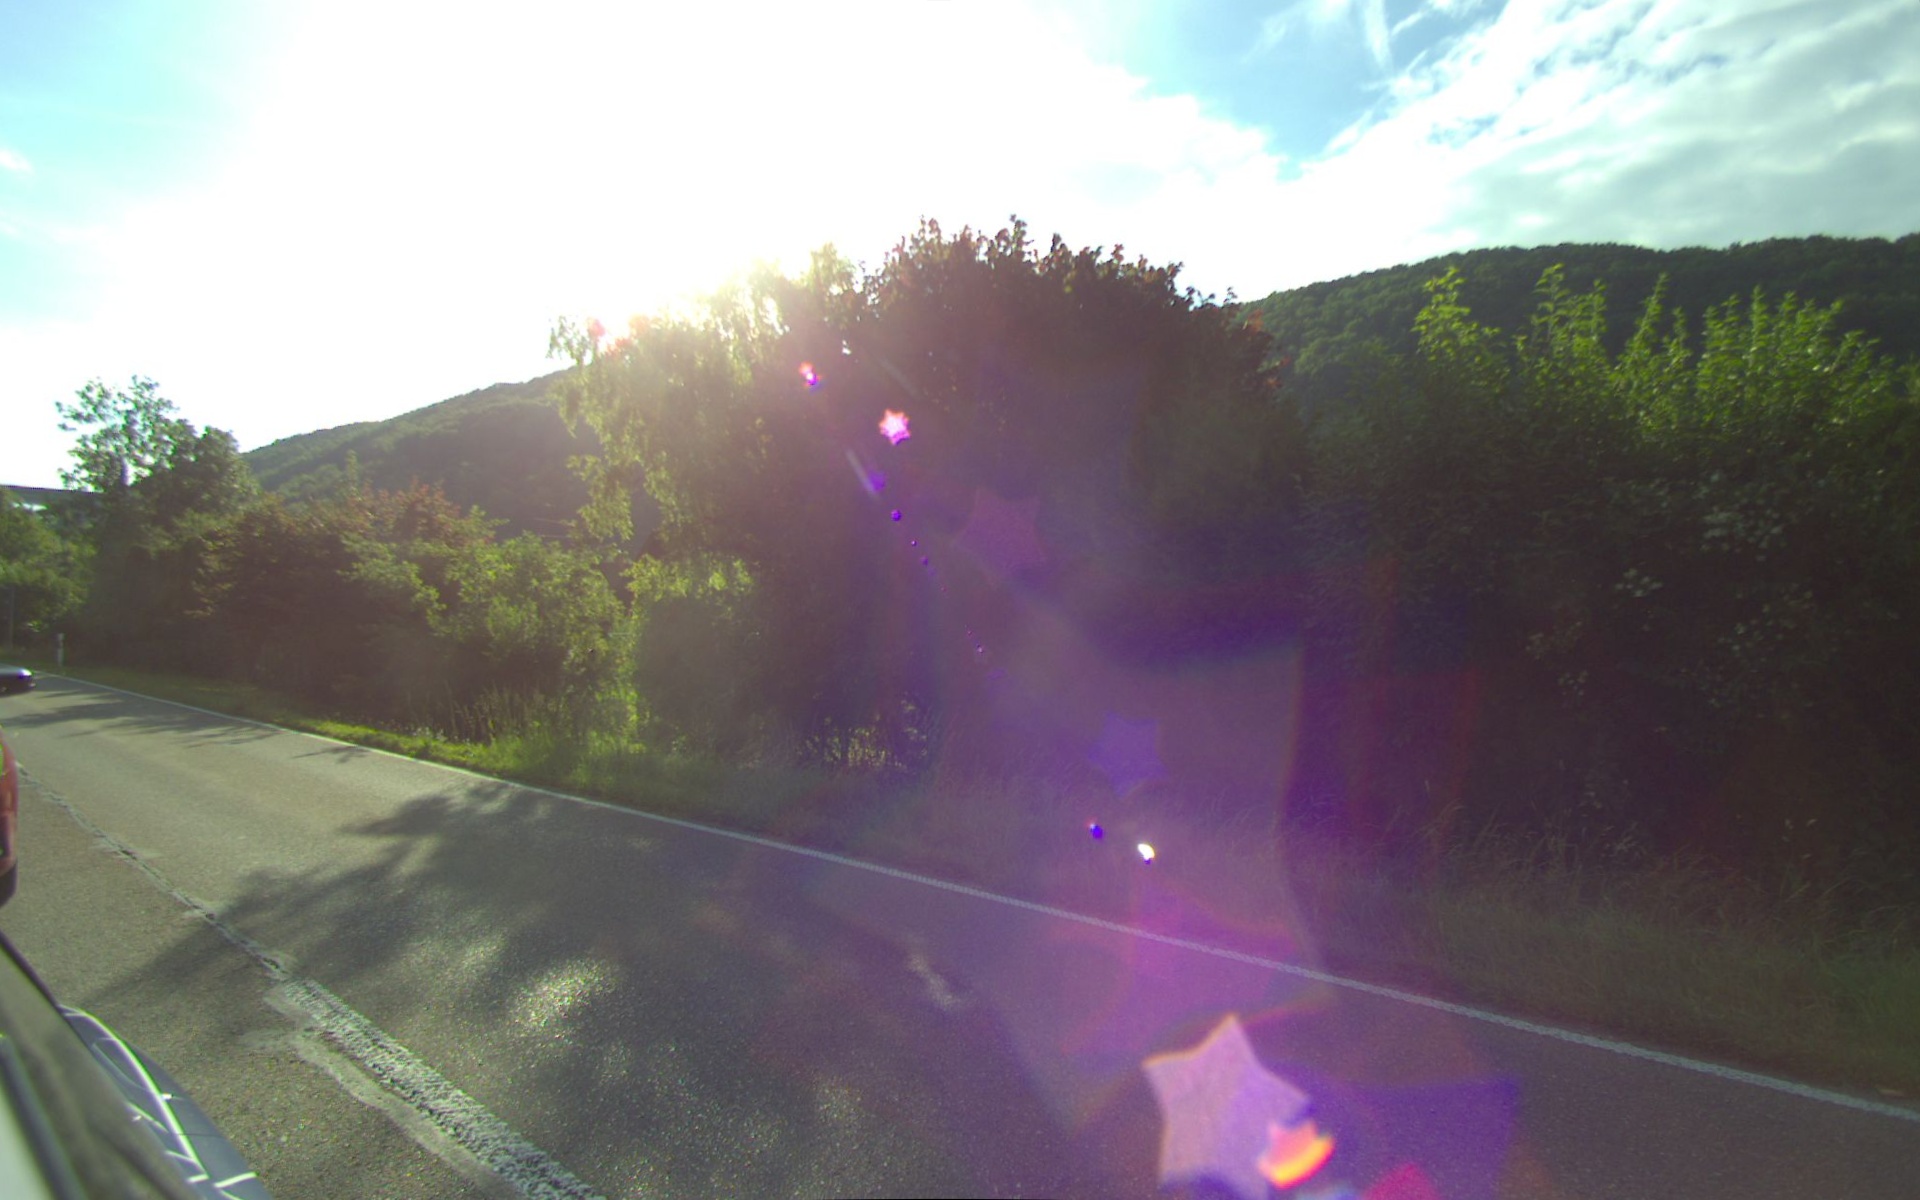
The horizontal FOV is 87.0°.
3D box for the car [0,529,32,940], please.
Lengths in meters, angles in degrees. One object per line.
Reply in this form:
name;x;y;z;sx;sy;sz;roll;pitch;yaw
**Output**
car;-6.371;0.637;5.339;4.287;1.824;1.730;-1;1;42
